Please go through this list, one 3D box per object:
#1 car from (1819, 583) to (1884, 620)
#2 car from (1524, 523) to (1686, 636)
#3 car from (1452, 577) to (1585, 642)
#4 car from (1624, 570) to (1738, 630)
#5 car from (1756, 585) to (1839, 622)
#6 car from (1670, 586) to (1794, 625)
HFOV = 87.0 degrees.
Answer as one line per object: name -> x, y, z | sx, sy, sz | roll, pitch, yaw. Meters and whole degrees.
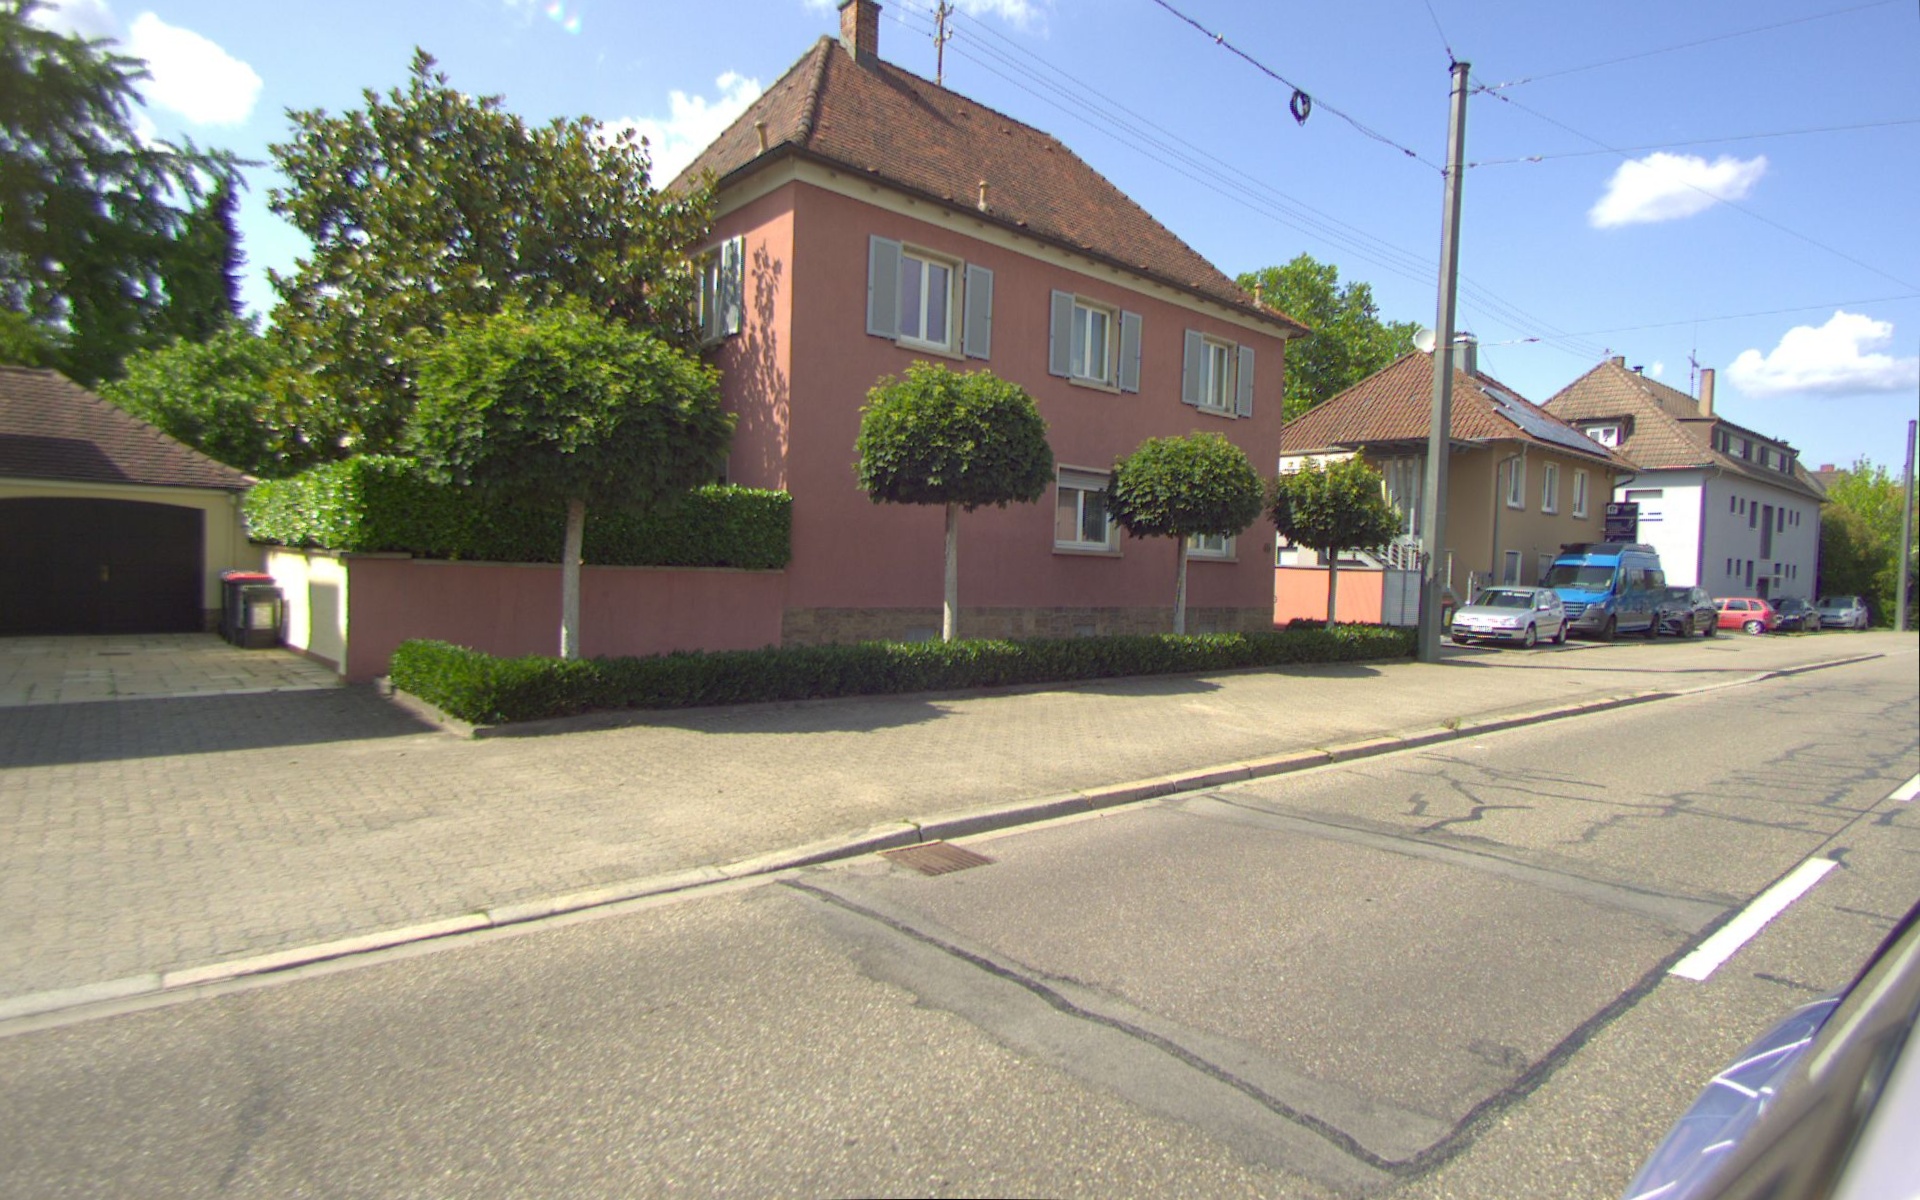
car -> 43.528, 0.030, 49.376 | 4.687, 1.667, 1.760 | -1, 3, -41
car -> 18.886, -0.585, 29.494 | 6.132, 2.967, 2.156 | -1, 1, -39
car -> 13.833, 0.168, 24.960 | 4.278, 1.426, 1.651 | -1, 3, -44
car -> 23.728, -0.014, 33.258 | 4.777, 1.732, 1.841 | 0, 3, -40
car -> 35.861, 0.116, 43.298 | 4.770, 1.441, 1.803 | 0, 3, -39
car -> 30.836, 0.175, 40.502 | 1.697, 1.397, 3.656 | -1, 2, -40
